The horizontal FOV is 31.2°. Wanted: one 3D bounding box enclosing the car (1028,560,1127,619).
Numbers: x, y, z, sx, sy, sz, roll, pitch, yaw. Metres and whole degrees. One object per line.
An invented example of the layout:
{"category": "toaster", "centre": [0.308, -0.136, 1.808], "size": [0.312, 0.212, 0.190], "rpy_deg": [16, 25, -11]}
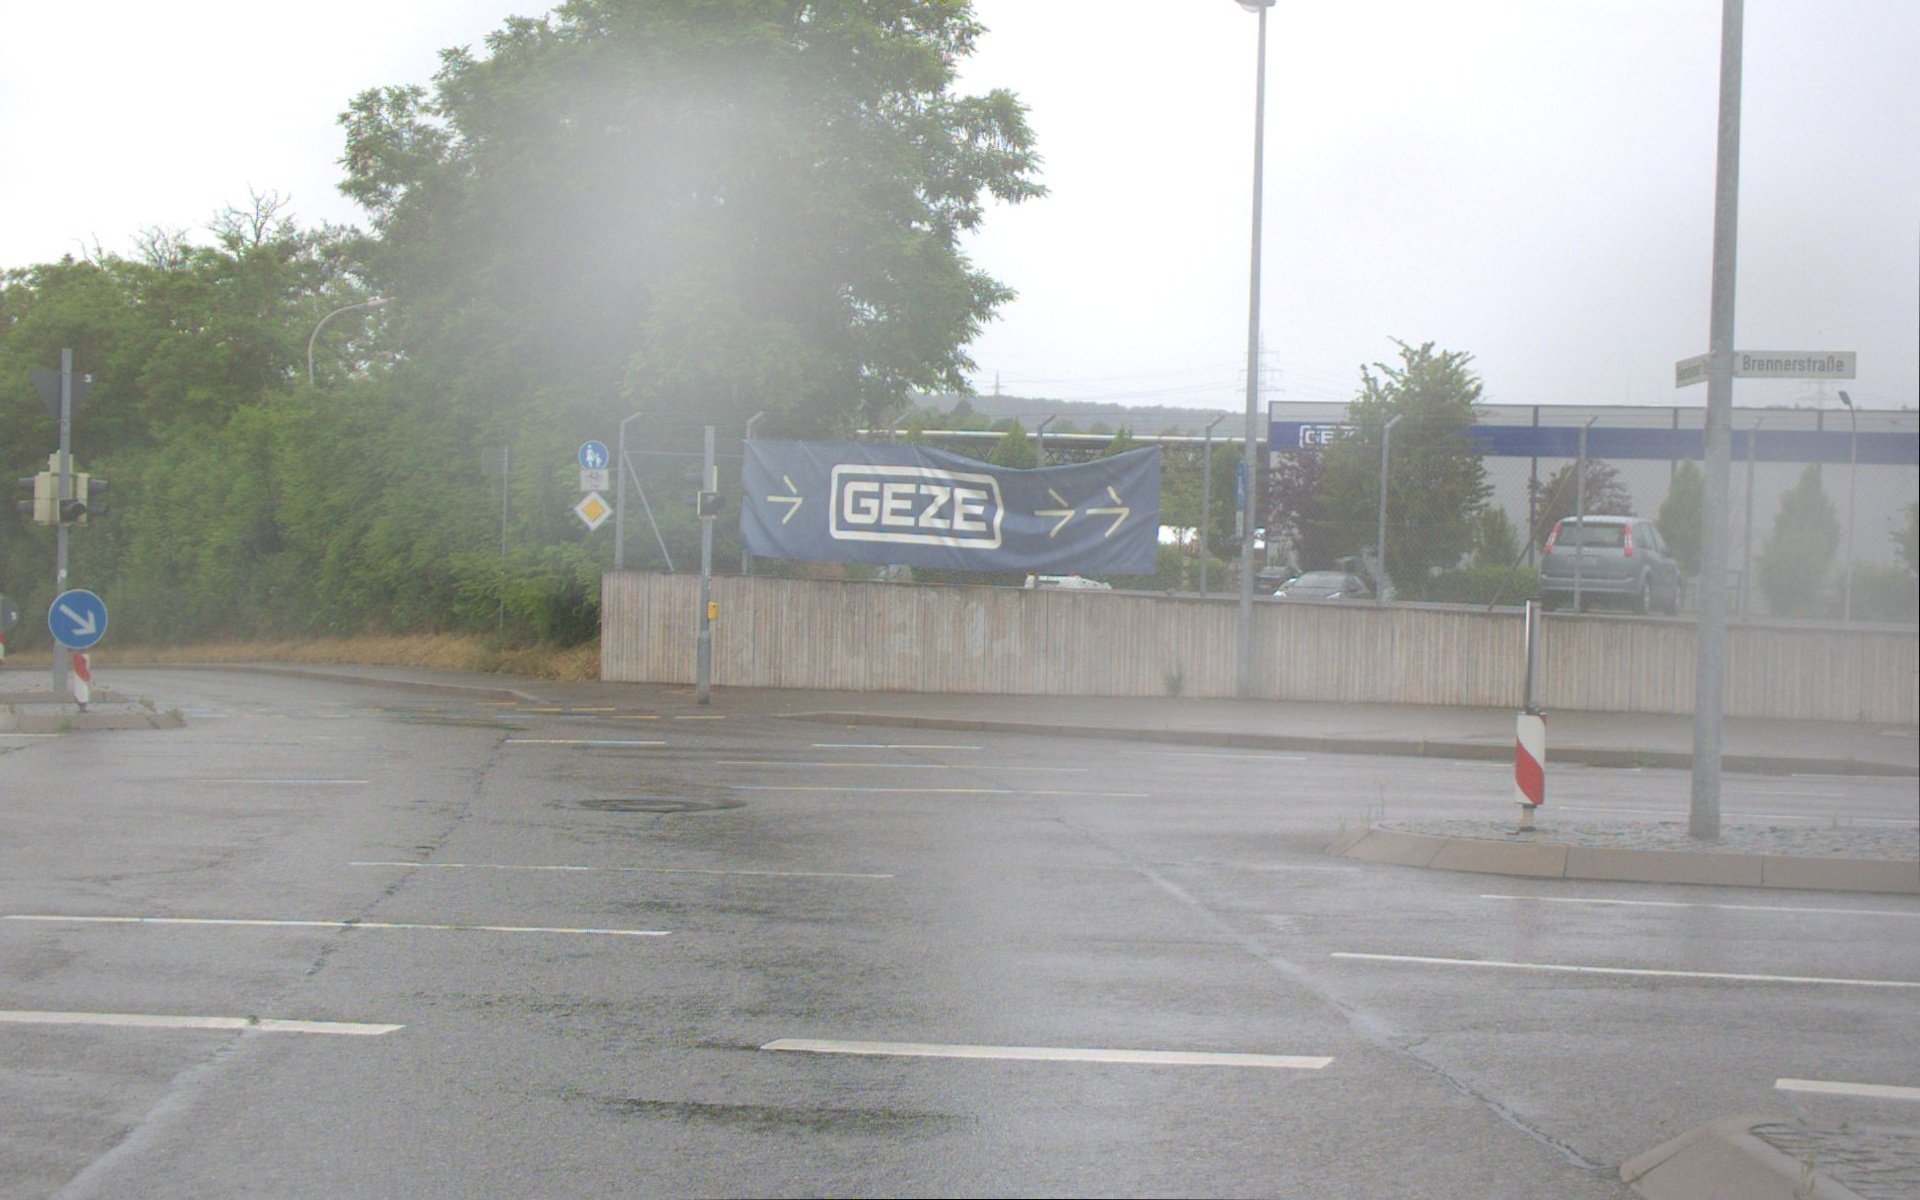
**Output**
{"category": "car", "centre": [3.267, -0.282, 95.092], "size": [1.668, 1.601, 3.527], "rpy_deg": [1, 0, 21]}

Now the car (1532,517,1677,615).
{"category": "car", "centre": [10.645, -0.548, 56.640], "size": [1.744, 1.548, 3.527], "rpy_deg": [1, 0, 21]}
